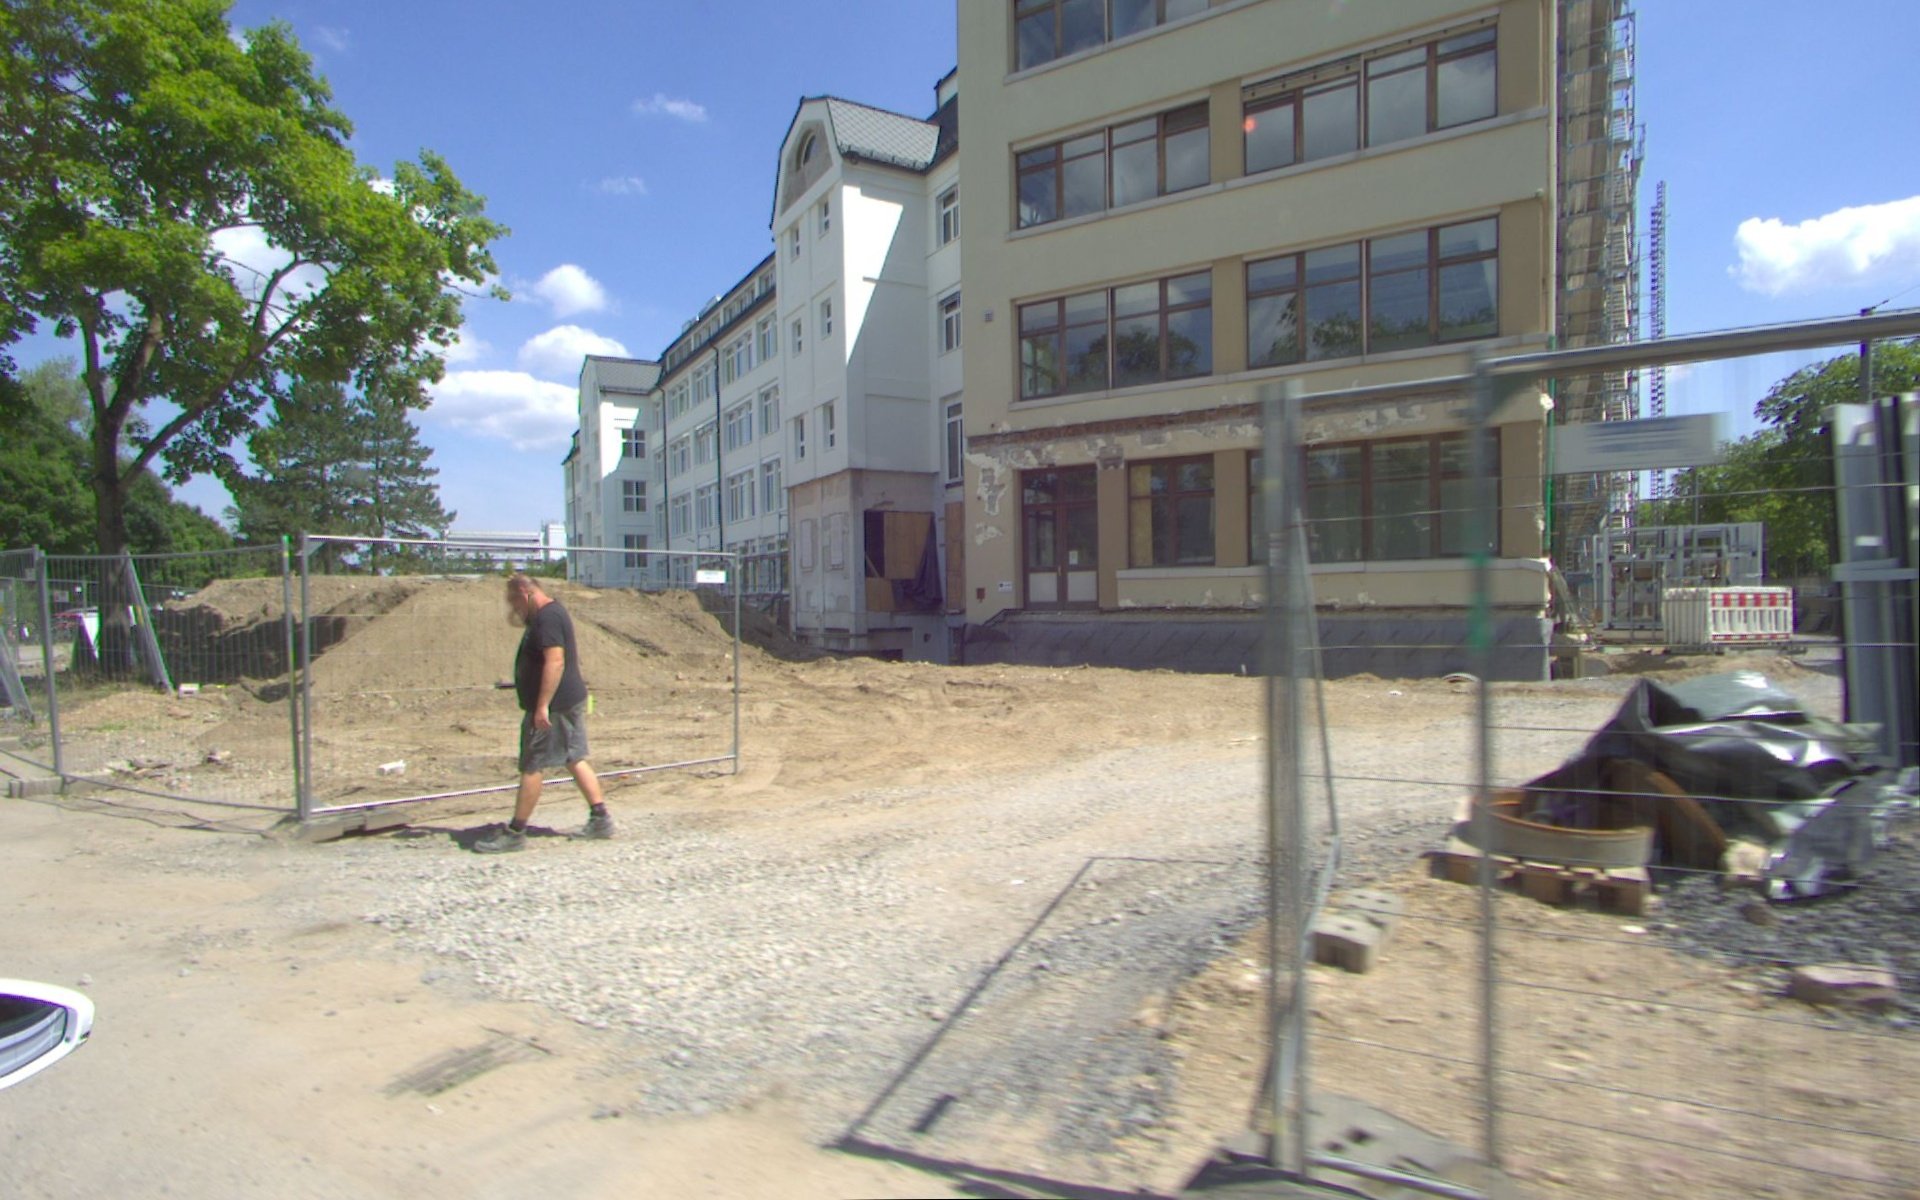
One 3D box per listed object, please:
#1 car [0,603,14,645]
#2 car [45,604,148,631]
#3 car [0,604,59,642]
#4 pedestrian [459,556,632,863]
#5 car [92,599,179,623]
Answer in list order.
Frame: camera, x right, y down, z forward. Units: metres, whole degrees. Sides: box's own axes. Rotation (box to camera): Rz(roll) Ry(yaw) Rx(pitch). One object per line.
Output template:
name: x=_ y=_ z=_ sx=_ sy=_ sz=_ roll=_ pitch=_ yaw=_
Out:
car: x=-39.593 y=0.943 z=38.457 sx=4.457 sy=1.619 sz=1.715 roll=0 pitch=1 yaw=-32
car: x=-52.462 y=1.055 z=60.948 sx=4.457 sy=1.568 sz=1.715 roll=0 pitch=1 yaw=-32
car: x=-42.372 y=1.006 z=43.512 sx=4.457 sy=1.619 sz=1.926 roll=0 pitch=0 yaw=-31
pedestrian: x=-2.748 y=0.655 z=6.616 sx=0.953 sy=1.844 sz=0.866 roll=-1 pitch=1 yaw=-29
car: x=-57.257 y=0.745 z=69.633 sx=4.457 sy=1.619 sz=1.715 roll=-1 pitch=1 yaw=-32
